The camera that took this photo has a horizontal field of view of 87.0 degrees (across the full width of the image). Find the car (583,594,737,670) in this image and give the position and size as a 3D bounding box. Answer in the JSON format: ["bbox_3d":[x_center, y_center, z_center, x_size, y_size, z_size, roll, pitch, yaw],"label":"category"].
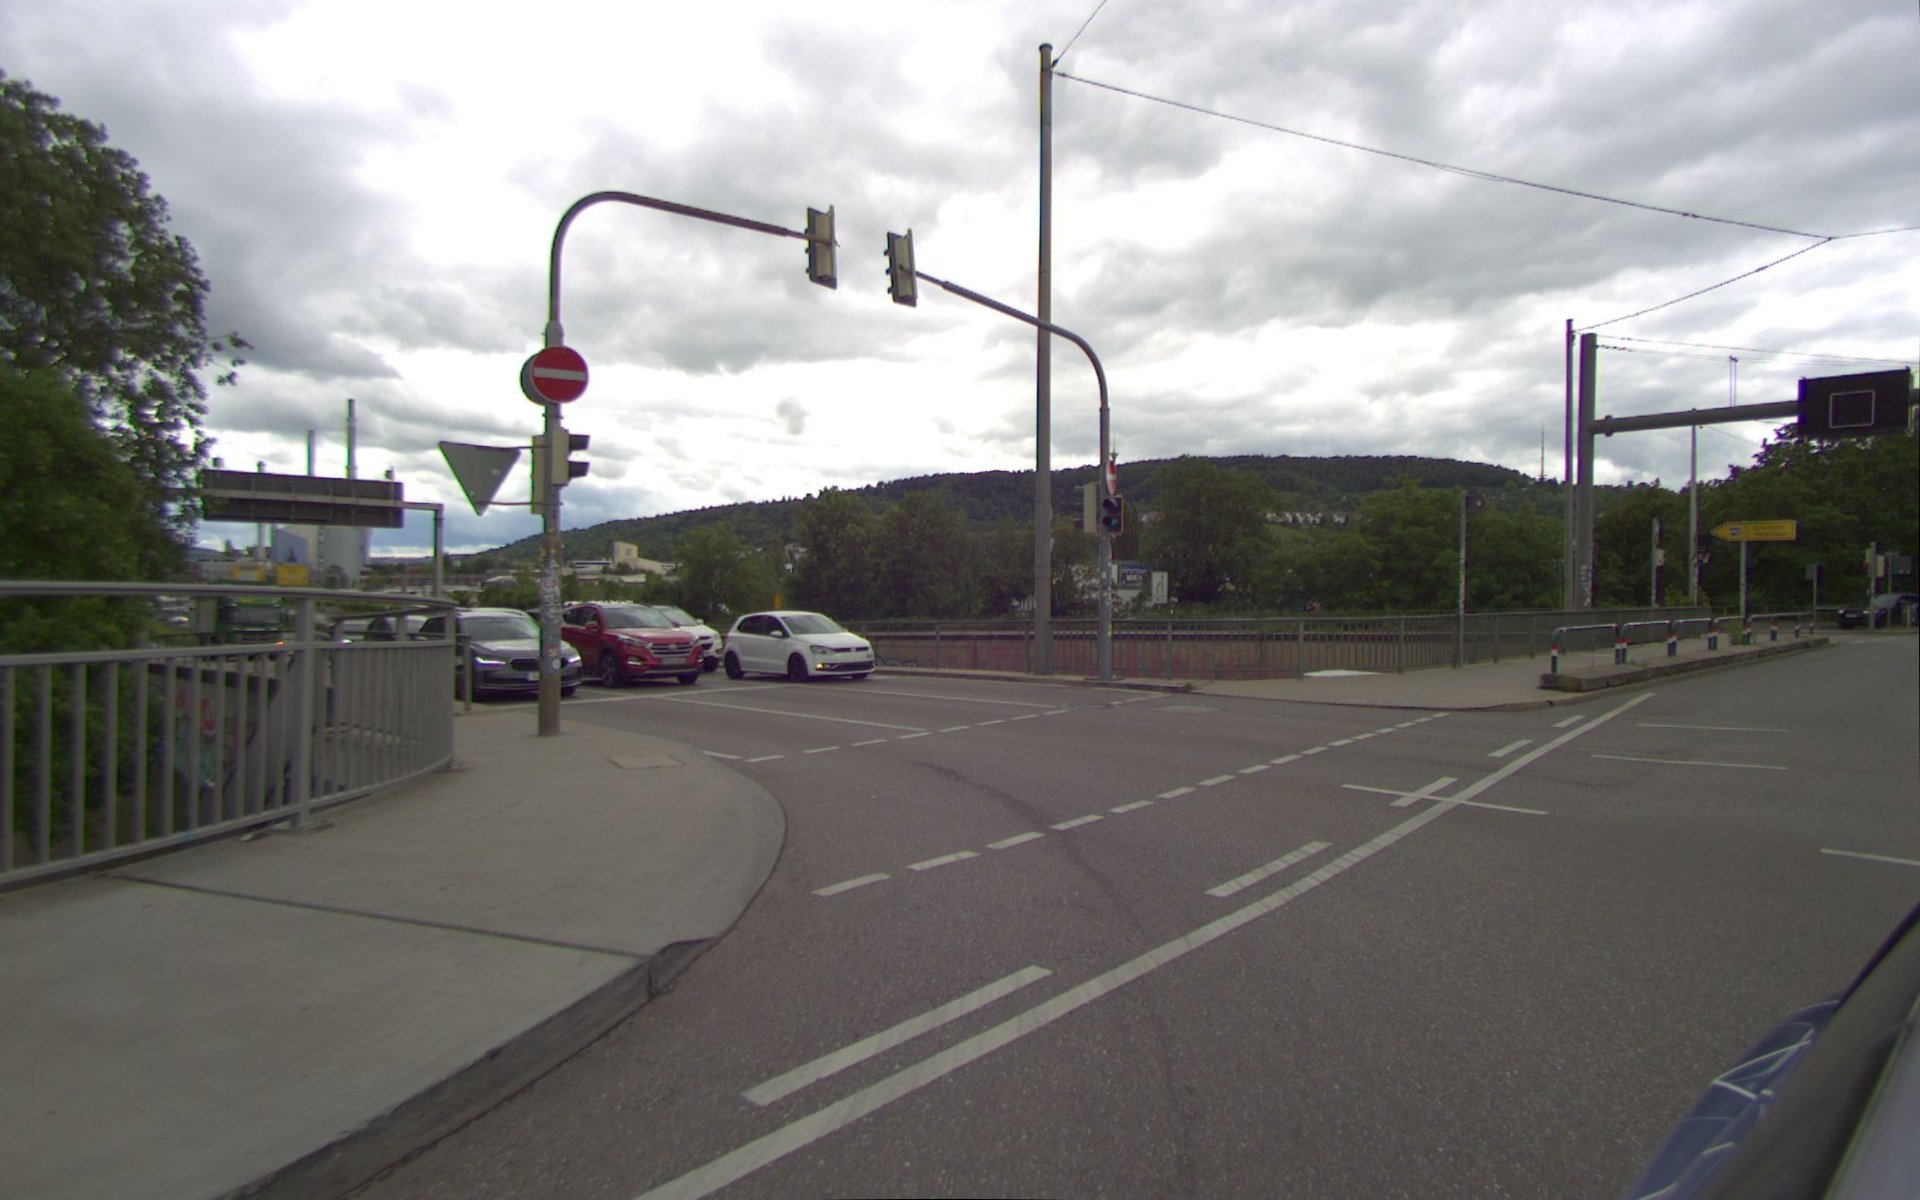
[{"bbox_3d":[-7.448,0.755,24.866,1.966,1.640,4.334,-2,1,-42],"label":"car"}]

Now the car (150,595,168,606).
[{"bbox_3d":[-131.382,0.118,165.919,1.967,1.728,4.069,-2,1,-43],"label":"car"}]

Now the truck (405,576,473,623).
[{"bbox_3d":[-59.596,-0.187,115.603,3.528,4.540,13.159,0,3,-42],"label":"truck"}]

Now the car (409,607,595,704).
[{"bbox_3d":[-8.116,0.892,17.741,1.668,1.438,4.142,-2,1,-44],"label":"car"}]

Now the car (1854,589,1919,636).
[{"bbox_3d":[46.003,0.566,49.834,4.864,1.939,2.329,-3,4,-41],"label":"car"}]

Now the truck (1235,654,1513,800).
[{"bbox_3d":[16.030,4.703,40.095,2.853,4.234,10.010,-3,3,-41],"label":"truck"}]

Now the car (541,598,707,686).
[{"bbox_3d":[-6.899,0.794,20.542,1.668,1.559,3.998,-2,0,-43],"label":"car"}]

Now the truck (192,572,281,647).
[{"bbox_3d":[-37.330,0.372,52.060,2.734,3.553,9.242,0,1,-42],"label":"truck"}]

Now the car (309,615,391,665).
[{"bbox_3d":[-20.955,1.332,34.723,1.667,1.559,3.751,-1,0,-43],"label":"car"}]

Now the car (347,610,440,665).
[{"bbox_3d":[-17.500,1.119,31.210,1.667,1.559,3.751,-1,0,-43],"label":"car"}]

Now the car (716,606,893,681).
[{"bbox_3d":[-3.250,0.836,20.712,1.761,1.329,3.756,-2,1,-43],"label":"car"}]

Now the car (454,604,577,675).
[{"bbox_3d":[-10.961,0.928,24.872,1.667,1.559,3.615,-1,0,-43],"label":"car"}]
